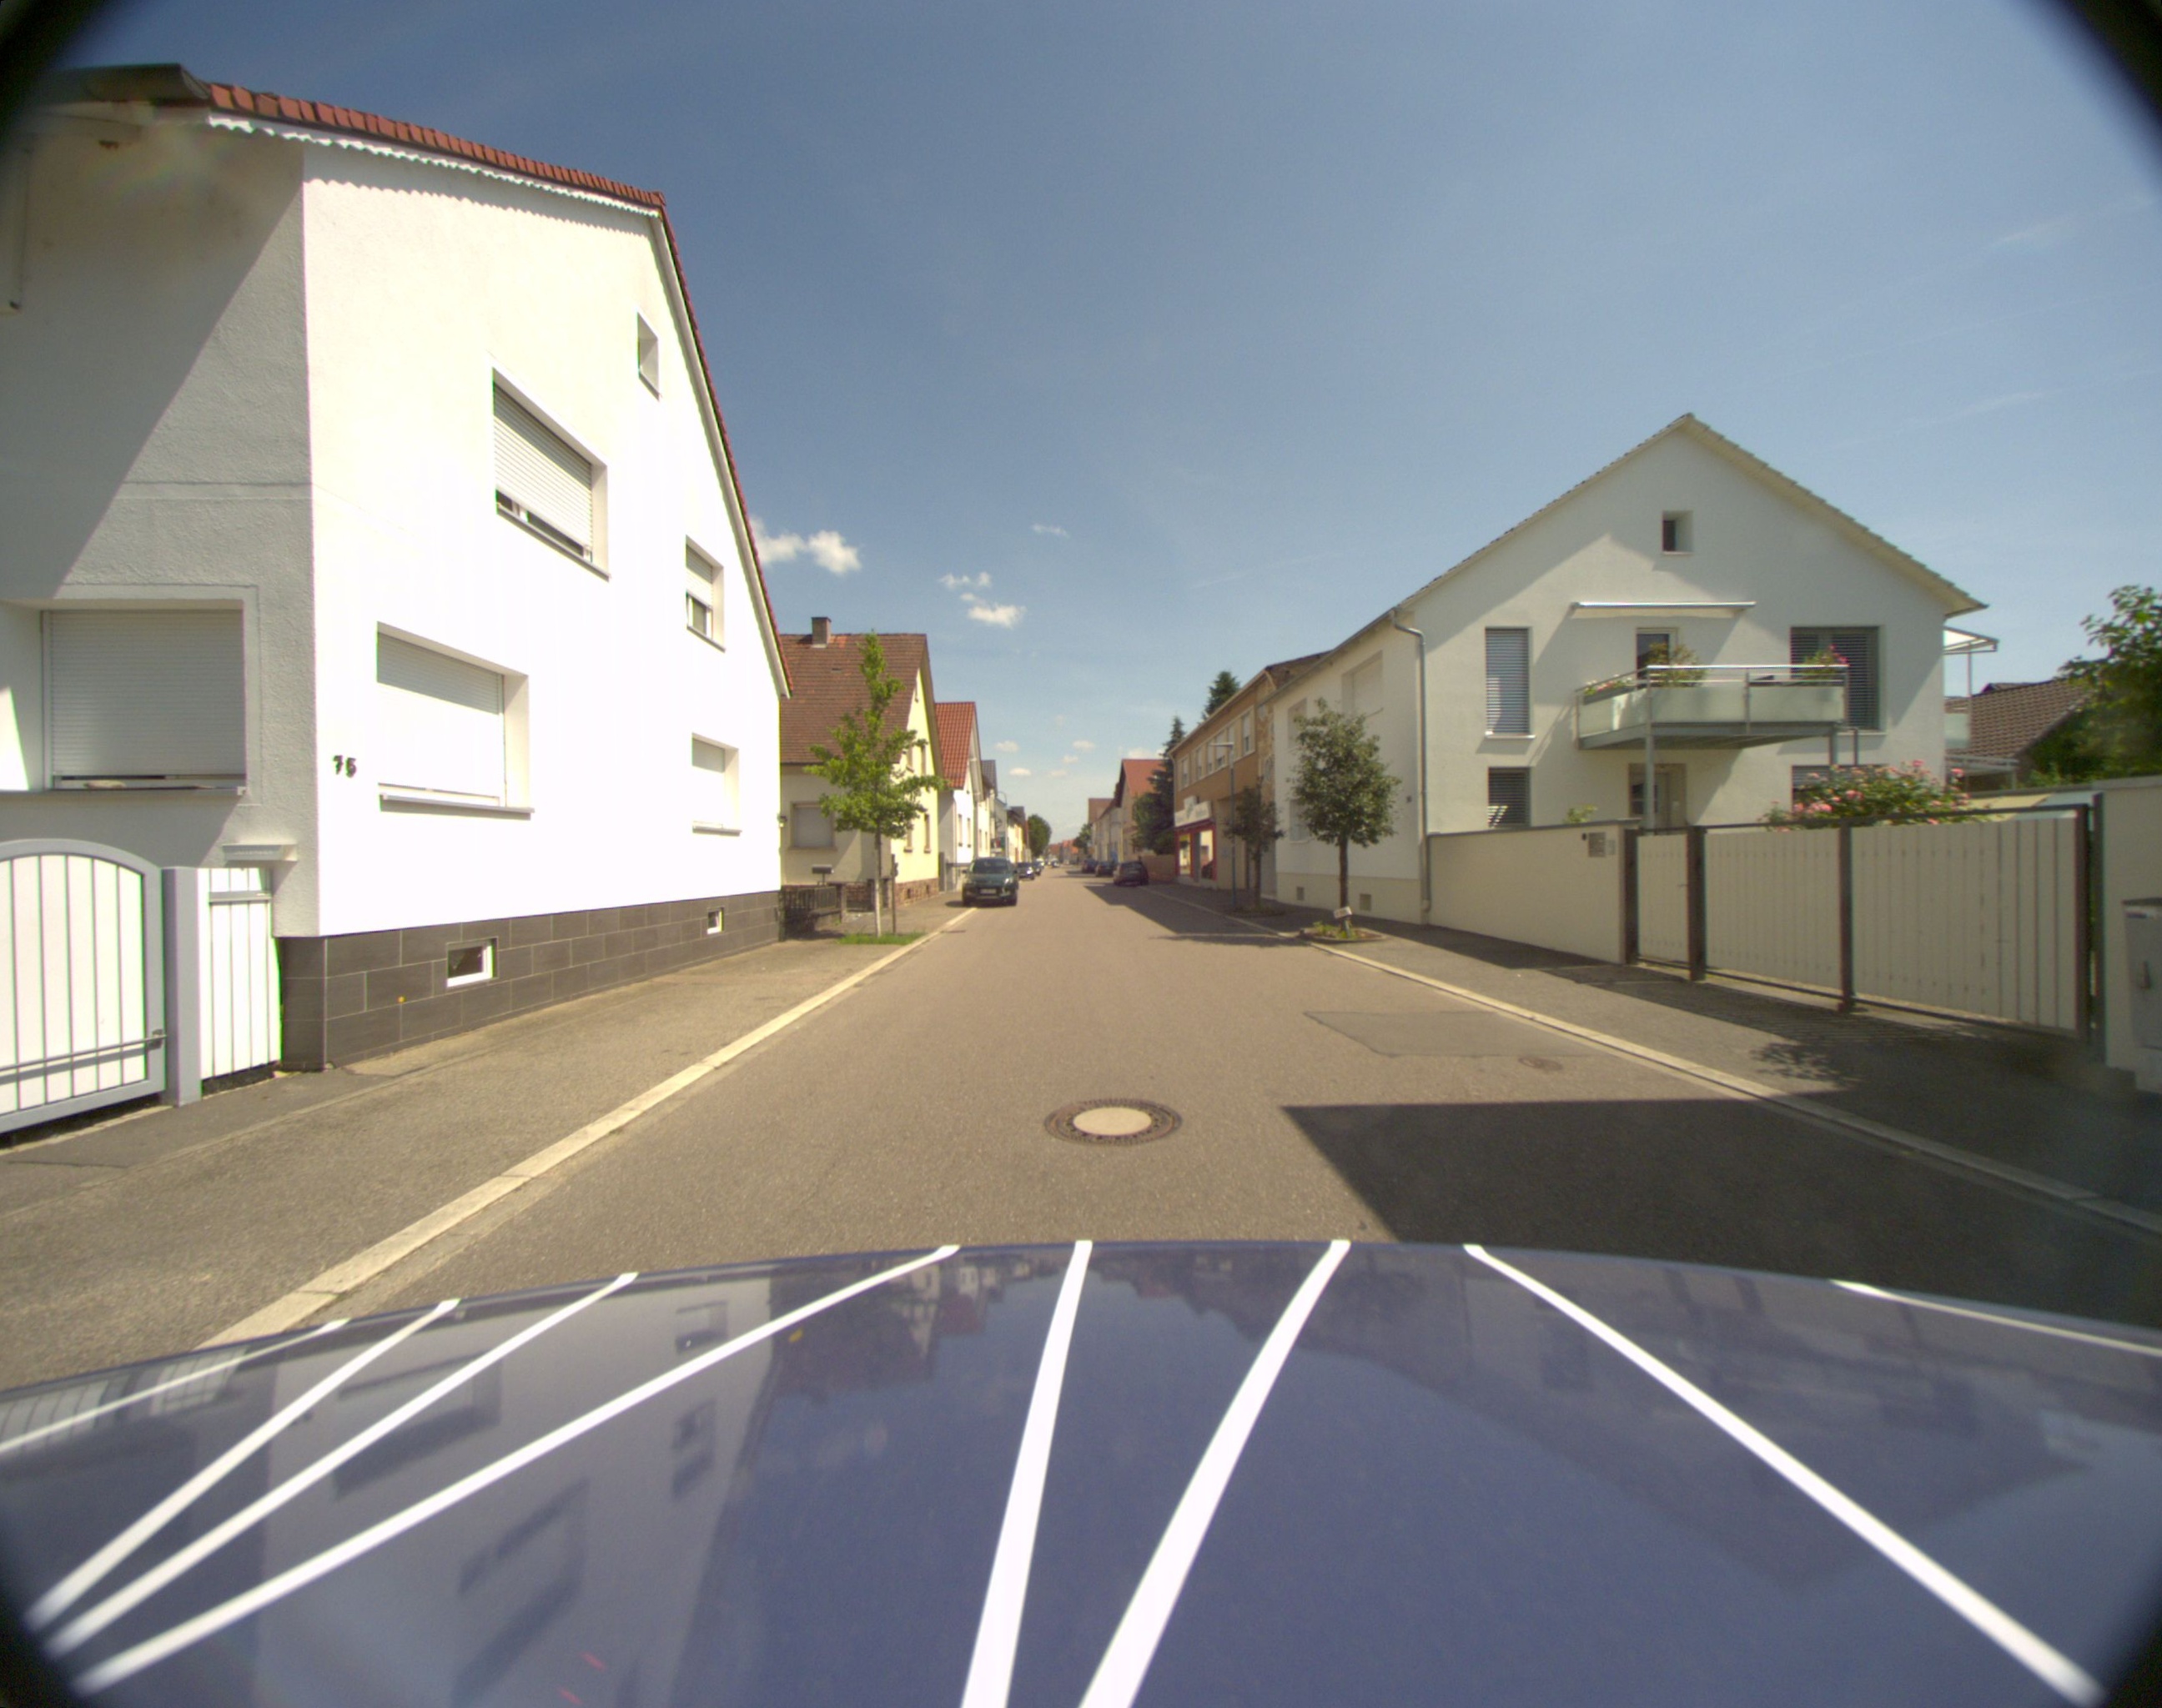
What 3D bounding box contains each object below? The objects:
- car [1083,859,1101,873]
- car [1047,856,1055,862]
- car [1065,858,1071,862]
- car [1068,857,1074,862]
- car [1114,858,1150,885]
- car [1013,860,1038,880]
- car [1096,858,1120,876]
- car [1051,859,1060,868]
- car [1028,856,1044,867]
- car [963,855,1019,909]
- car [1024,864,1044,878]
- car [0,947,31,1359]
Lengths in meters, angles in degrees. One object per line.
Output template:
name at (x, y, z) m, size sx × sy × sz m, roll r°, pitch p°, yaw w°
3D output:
car at (1.207, 1.321, 82.891) m, size 1.702 × 1.403 × 4.389 m, roll -2°, pitch 0°, yaw -2°
car at (-8.082, 1.358, 205.820) m, size 1.848 × 1.385 × 4.168 m, roll -1°, pitch -2°, yaw -4°
car at (-4.111, 1.862, 236.272) m, size 1.598 × 1.385 × 4.167 m, roll -2°, pitch 0°, yaw -2°
car at (-2.915, 1.649, 219.209) m, size 1.727 × 1.385 × 4.170 m, roll -2°, pitch -2°, yaw 0°
car at (2.948, 1.013, 44.852) m, size 1.773 × 1.451 × 4.436 m, roll -1°, pitch 0°, yaw 0°
car at (-4.303, 1.245, 59.304) m, size 1.693 × 1.414 × 3.656 m, roll -1°, pitch 0°, yaw -2°
car at (2.333, 1.109, 65.814) m, size 1.766 × 1.366 × 4.065 m, roll -2°, pitch 0°, yaw -2°
car at (-4.912, 1.770, 145.883) m, size 1.598 × 1.533 × 4.200 m, roll -3°, pitch 1°, yaw 1°
car at (-6.188, 1.052, 104.947) m, size 1.726 × 1.473 × 3.750 m, roll 2°, pitch 0°, yaw 2°
car at (-3.111, 0.921, 26.943) m, size 1.733 × 1.707 × 4.274 m, roll -1°, pitch 0°, yaw -4°
car at (-4.713, 1.674, 76.579) m, size 1.820 × 1.268 × 4.146 m, roll -1°, pitch 0°, yaw -1°
car at (-5.673, 1.058, 1.771) m, size 3.932 × 1.406 × 1.740 m, roll -1°, pitch 0°, yaw -1°
